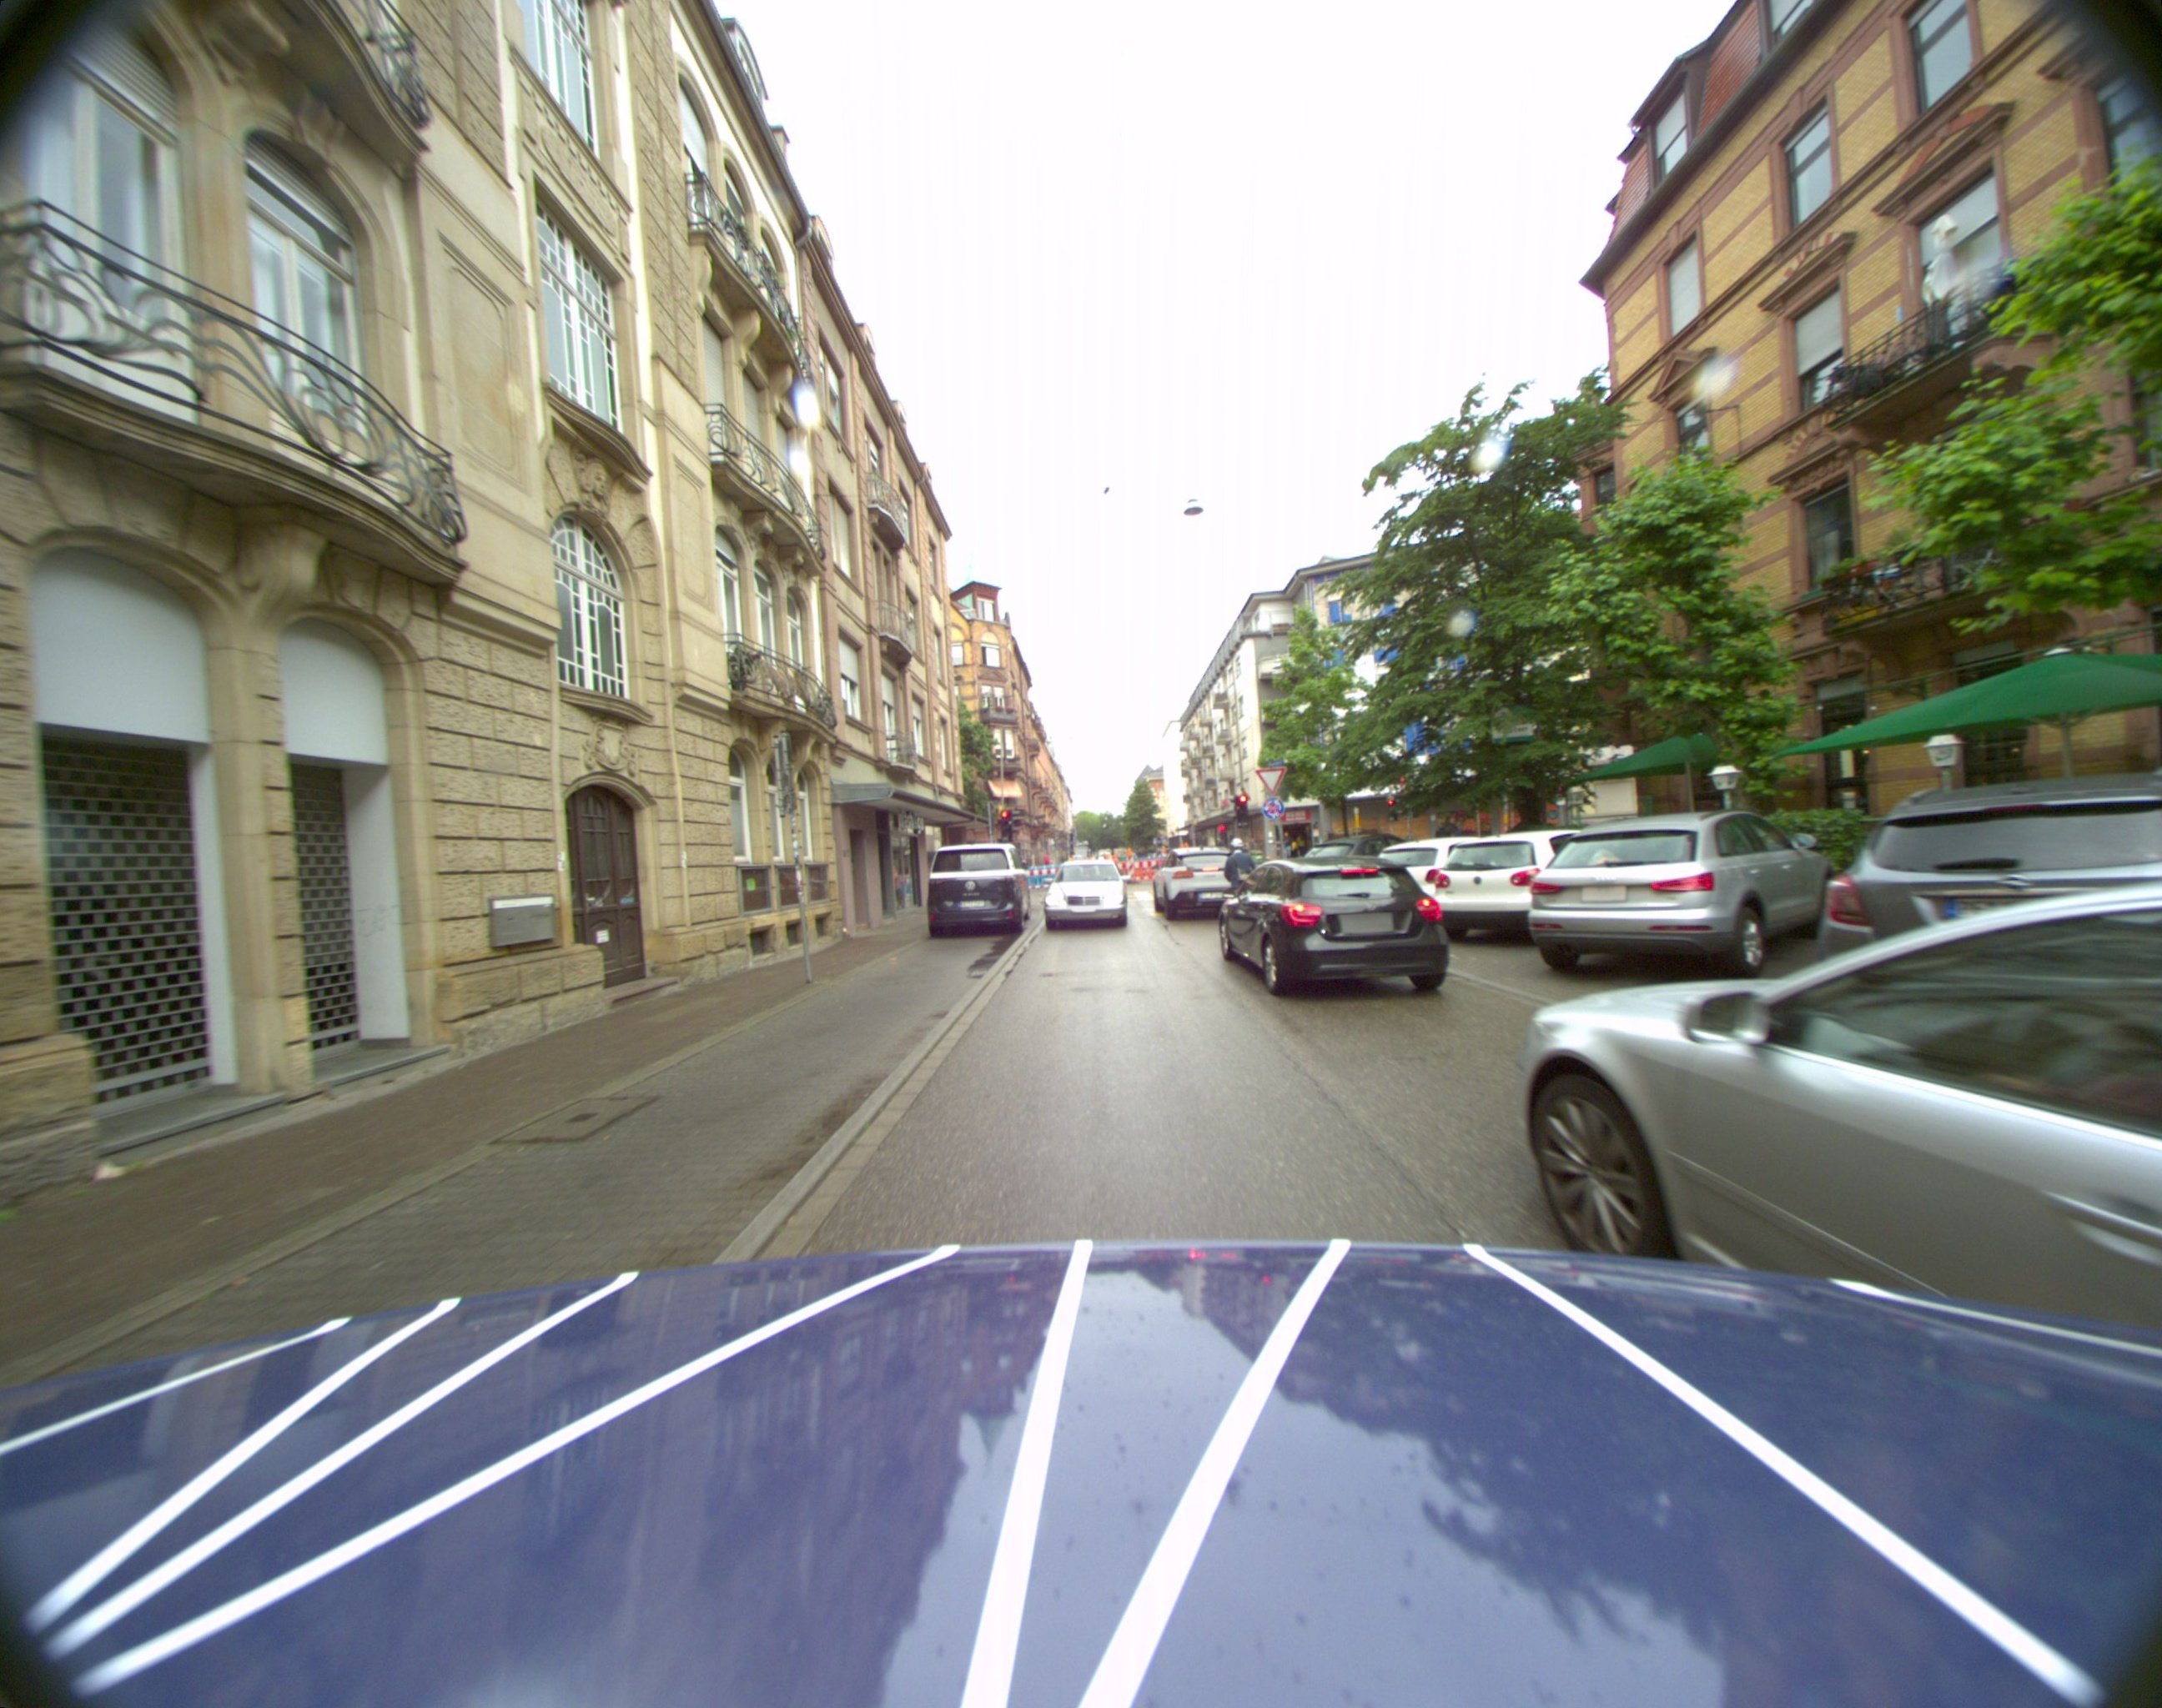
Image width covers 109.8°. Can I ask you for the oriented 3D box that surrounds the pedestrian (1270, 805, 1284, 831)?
[{"bbox_3d":[12.351,-2.300,47.938,0.544,1.575,0.695,-4,2,36],"label":"pedestrian"}]

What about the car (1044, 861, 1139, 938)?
[{"bbox_3d":[0.102,0.941,17.984,1.859,1.390,4.978,-4,0,-3],"label":"car"}]

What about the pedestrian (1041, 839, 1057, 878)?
[{"bbox_3d":[-2.221,0.314,52.651,0.696,2.594,0.539,-5,1,-30],"label":"pedestrian"}]

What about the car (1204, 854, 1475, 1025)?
[{"bbox_3d":[2.744,0.851,9.156,1.800,1.484,4.139,-3,-1,0],"label":"car"}]

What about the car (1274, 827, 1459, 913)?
[{"bbox_3d":[7.049,0.327,18.599,4.464,1.555,1.995,-6,3,-35],"label":"car"}]

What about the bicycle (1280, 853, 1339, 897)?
[{"bbox_3d":[6.448,0.588,21.533,0.400,1.178,1.874,-5,1,-24],"label":"bicycle"}]

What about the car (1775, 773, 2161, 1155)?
[{"bbox_3d":[6.524,0.414,5.123,4.143,1.653,1.797,-7,3,-35],"label":"car"}]

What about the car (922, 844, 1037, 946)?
[{"bbox_3d":[-2.148,0.790,17.569,1.999,1.927,5.229,-2,1,-1],"label":"car"}]

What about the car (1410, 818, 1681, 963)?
[{"bbox_3d":[6.982,0.427,11.298,4.143,1.485,1.797,-7,3,-34],"label":"car"}]

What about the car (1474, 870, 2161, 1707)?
[{"bbox_3d":[2.460,0.845,0.700,1.800,1.485,4.583,-4,-1,1],"label":"car"}]

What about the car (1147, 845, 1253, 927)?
[{"bbox_3d":[2.767,0.679,18.751,1.863,1.650,5.008,-3,0,1],"label":"car"}]

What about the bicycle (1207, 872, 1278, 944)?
[{"bbox_3d":[2.927,0.940,14.006,0.772,1.173,2.270,-3,-1,0],"label":"bicycle"}]

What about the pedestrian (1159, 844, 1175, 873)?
[{"bbox_3d":[5.775,0.291,50.857,0.717,1.886,0.606,-4,1,36],"label":"pedestrian"}]

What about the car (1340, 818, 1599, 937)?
[{"bbox_3d":[7.191,0.361,13.924,4.731,1.554,1.996,-6,0,-33],"label":"car"}]

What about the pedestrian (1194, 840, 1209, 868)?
[{"bbox_3d":[8.344,0.012,52.547,0.862,1.837,0.770,-4,0,10],"label":"pedestrian"}]

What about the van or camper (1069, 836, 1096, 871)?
[{"bbox_3d":[0.155,-0.072,79.635,2.411,3.308,7.073,-4,0,0],"label":"van or camper"}]

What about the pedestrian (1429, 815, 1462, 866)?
[{"bbox_3d":[14.797,-0.539,30.878,0.942,2.002,0.865,-4,0,36],"label":"pedestrian"}]

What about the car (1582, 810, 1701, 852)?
[{"bbox_3d":[26.105,-1.030,35.635,1.999,1.670,4.457,-4,0,-4],"label":"car"}]

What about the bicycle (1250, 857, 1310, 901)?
[{"bbox_3d":[5.546,0.682,21.232,0.588,1.137,1.679,-5,1,-27],"label":"bicycle"}]

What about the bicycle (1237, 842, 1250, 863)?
[{"bbox_3d":[11.520,-0.106,53.841,0.450,1.365,2.024,-7,0,3],"label":"bicycle"}]

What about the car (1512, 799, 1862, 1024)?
[{"bbox_3d":[6.714,0.438,8.281,4.143,1.652,1.797,-7,2,-35],"label":"car"}]

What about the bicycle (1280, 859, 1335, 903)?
[{"bbox_3d":[6.247,0.729,21.071,0.400,1.137,1.679,-5,1,-24],"label":"bicycle"}]

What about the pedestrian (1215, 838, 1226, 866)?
[{"bbox_3d":[9.429,-0.129,51.307,0.604,1.837,0.770,-4,0,10],"label":"pedestrian"}]

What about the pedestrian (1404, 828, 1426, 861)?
[{"bbox_3d":[17.128,-0.492,38.929,0.797,1.606,0.606,-4,1,36],"label":"pedestrian"}]

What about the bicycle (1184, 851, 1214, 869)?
[{"bbox_3d":[8.150,0.422,52.471,1.895,1.028,0.661,-6,0,-13],"label":"bicycle"}]
